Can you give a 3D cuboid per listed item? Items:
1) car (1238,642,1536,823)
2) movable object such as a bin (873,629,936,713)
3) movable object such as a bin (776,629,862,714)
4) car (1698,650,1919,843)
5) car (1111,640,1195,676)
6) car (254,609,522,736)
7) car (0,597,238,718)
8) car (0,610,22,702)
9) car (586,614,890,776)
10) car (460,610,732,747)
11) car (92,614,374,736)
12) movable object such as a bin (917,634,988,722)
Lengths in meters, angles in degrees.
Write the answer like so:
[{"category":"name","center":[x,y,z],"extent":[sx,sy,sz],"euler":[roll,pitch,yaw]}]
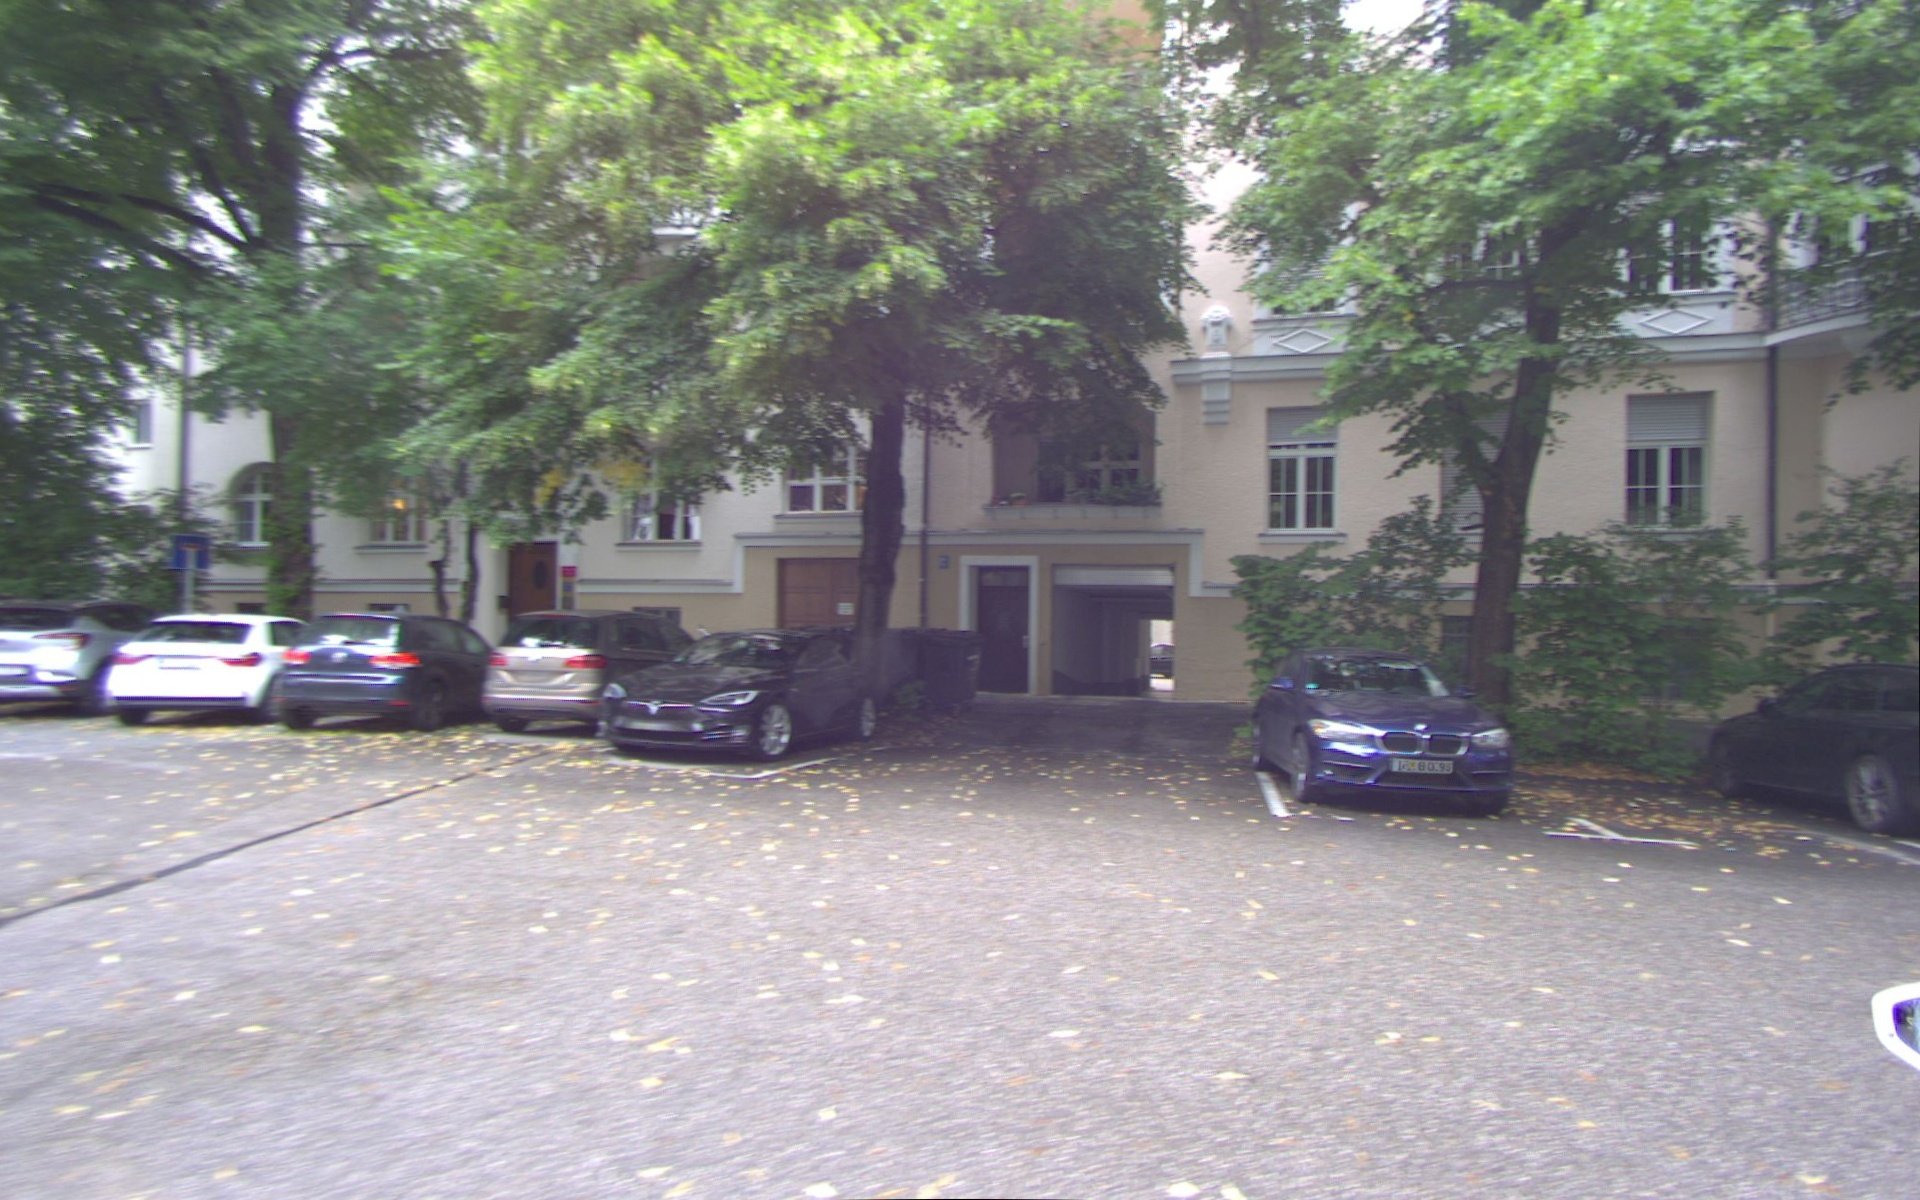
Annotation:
[{"category":"car","center":[4.031,1.163,10.268],"extent":[1.807,1.401,4.346],"euler":[1,-3,9]},{"category":"movable object such as a bin","center":[-0.935,1.184,17.210],"extent":[0.700,1.365,1.374],"euler":[1,-1,13]},{"category":"movable object such as a bin","center":[-2.419,1.216,17.388],"extent":[1.130,1.366,1.157],"euler":[2,0,11]},{"category":"car","center":[8.612,1.246,9.064],"extent":[1.826,1.443,4.166],"euler":[0,-4,17]},{"category":"car","center":[9.052,2.721,47.296],"extent":[3.779,1.538,1.658],"euler":[1,-1,8]},{"category":"car","center":[-7.544,0.902,13.747],"extent":[1.764,1.450,3.995],"euler":[2,-1,-8]},{"category":"car","center":[-12.644,0.760,14.715],"extent":[1.842,1.530,3.991],"euler":[2,-1,-12]},{"category":"car","center":[-15.216,0.827,14.089],"extent":[2.038,1.419,3.970],"euler":[2,-2,-29]},{"category":"car","center":[-2.363,1.063,11.985],"extent":[1.675,1.485,4.292],"euler":[2,-3,15]},{"category":"car","center":[-4.747,0.977,13.792],"extent":[1.807,1.550,4.028],"euler":[1,-2,8]},{"category":"car","center":[-9.930,0.958,14.136],"extent":[1.694,1.450,3.991],"euler":[2,-1,-12]},{"category":"movable object such as a bin","center":[-0.096,1.261,16.669],"extent":[0.848,1.322,1.433],"euler":[3,-1,11]}]
